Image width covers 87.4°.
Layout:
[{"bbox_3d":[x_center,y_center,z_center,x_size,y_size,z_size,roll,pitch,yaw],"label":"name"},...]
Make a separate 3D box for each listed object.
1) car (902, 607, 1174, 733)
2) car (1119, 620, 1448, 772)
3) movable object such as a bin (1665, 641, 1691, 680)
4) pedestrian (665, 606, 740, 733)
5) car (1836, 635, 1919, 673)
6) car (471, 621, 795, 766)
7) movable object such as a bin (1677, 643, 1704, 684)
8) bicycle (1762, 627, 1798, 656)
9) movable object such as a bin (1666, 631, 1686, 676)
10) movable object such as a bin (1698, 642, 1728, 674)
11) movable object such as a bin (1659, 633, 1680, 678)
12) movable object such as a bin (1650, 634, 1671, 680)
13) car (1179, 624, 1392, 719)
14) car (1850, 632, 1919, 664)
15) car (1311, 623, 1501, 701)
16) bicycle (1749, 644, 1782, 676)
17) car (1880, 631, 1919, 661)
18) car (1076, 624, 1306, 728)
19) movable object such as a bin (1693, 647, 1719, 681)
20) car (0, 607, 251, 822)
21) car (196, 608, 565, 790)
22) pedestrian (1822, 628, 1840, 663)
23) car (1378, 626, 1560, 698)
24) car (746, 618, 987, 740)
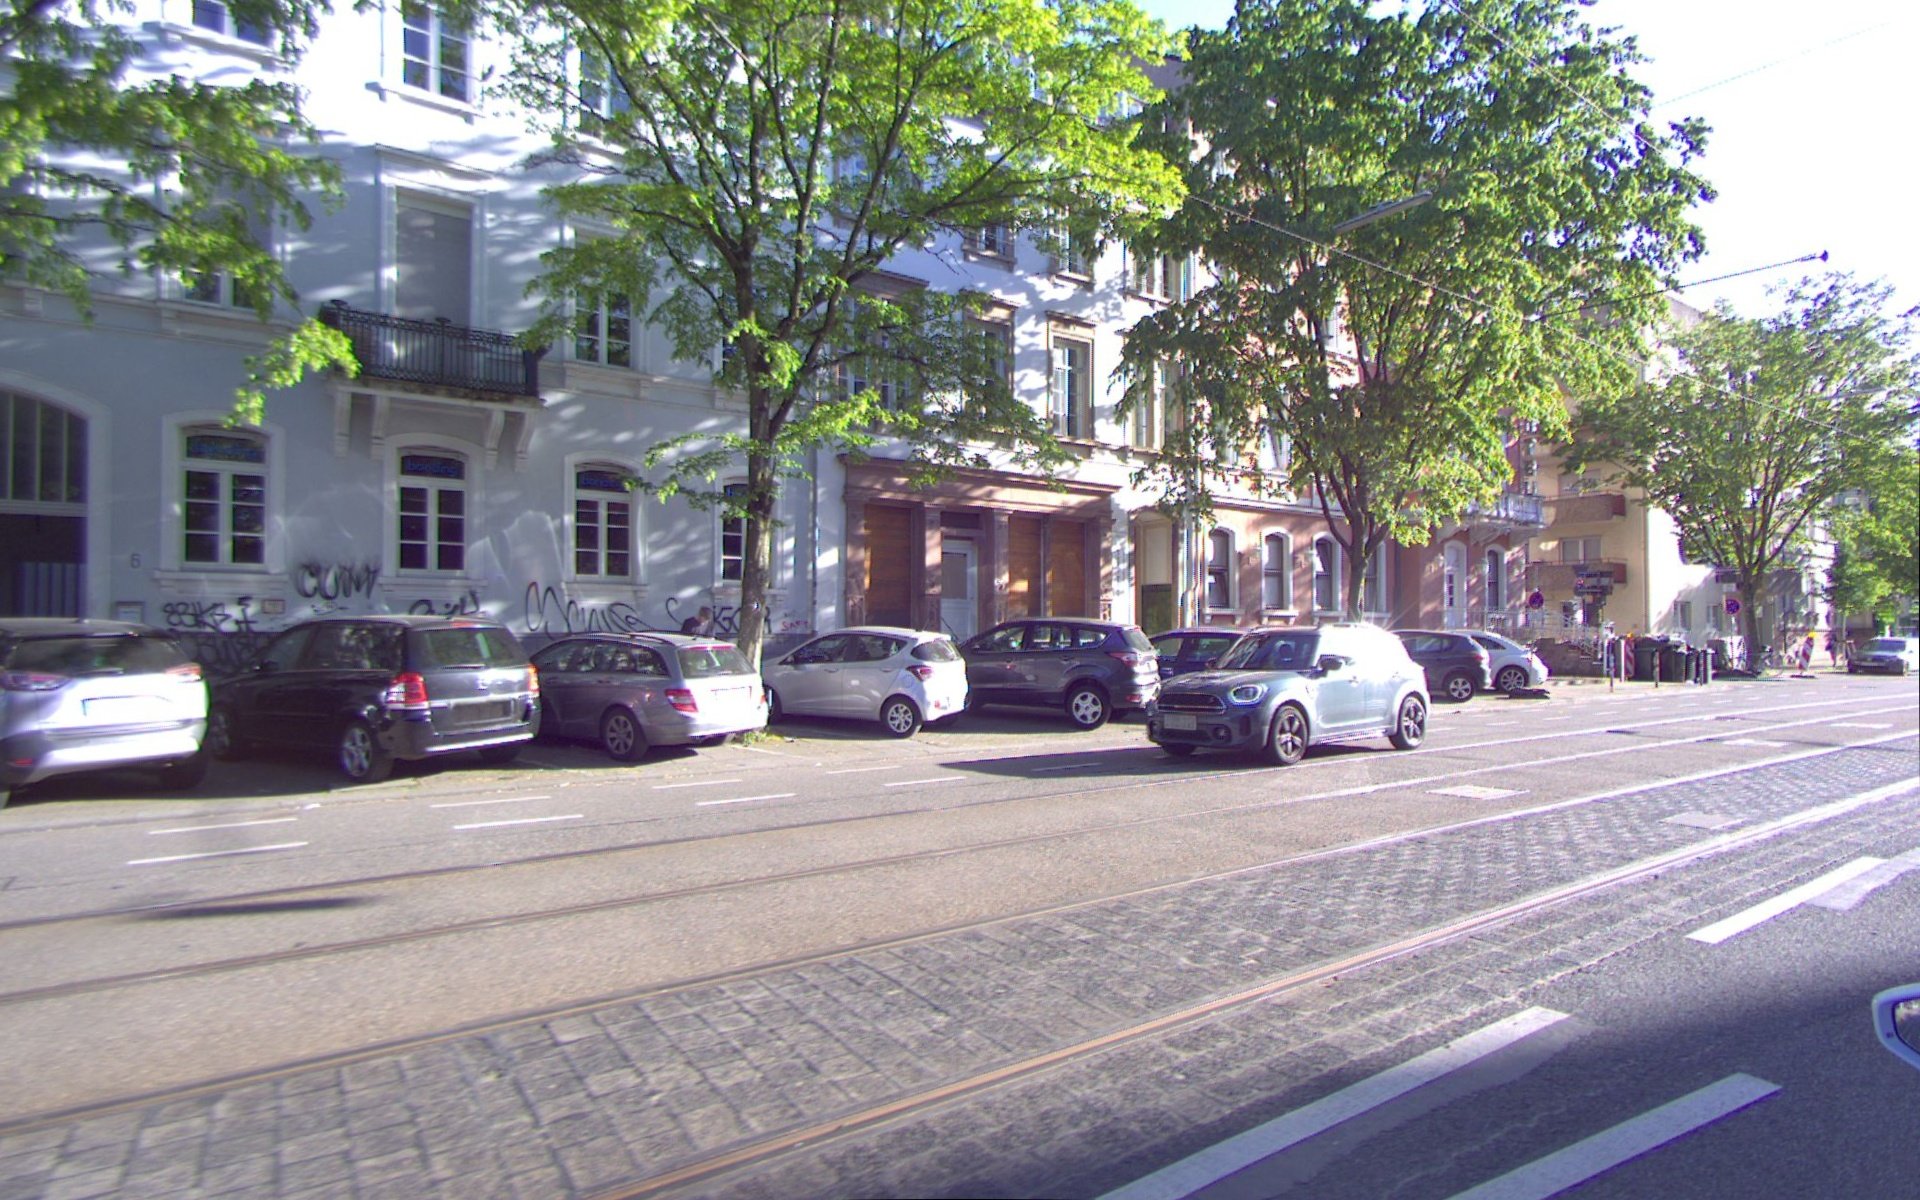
[{"bbox_3d":[1.306,1.101,16.970,4.205,1.745,1.706,2,-1,25],"label":"car"},{"bbox_3d":[4.228,1.097,12.825,4.387,1.622,1.857,1,-3,-38],"label":"car"},{"bbox_3d":[22.313,1.877,31.215,0.630,1.218,0.379,1,-2,-22],"label":"movable object such as a bin"},{"bbox_3d":[-3.762,0.998,14.685,0.756,1.778,0.803,-2,-3,45],"label":"pedestrian"},{"bbox_3d":[37.527,2.144,40.775,4.242,1.429,1.698,1,-1,-31],"label":"car"},{"bbox_3d":[-4.185,1.082,12.818,3.751,1.505,1.769,1,-1,27],"label":"car"},{"bbox_3d":[22.934,1.992,31.539,0.630,1.258,0.379,1,-2,-22],"label":"movable object such as a bin"},{"bbox_3d":[41.883,2.122,51.281,2.982,1.416,0.712,2,-2,-36],"label":"bicycle"},{"bbox_3d":[23.131,1.724,32.446,0.382,1.445,0.379,1,-2,-22],"label":"movable object such as a bin"},{"bbox_3d":[27.795,2.140,37.076,1.133,1.141,0.424,1,-2,-29],"label":"movable object such as a bin"},{"bbox_3d":[22.784,1.768,32.246,0.380,1.445,0.379,1,-2,-22],"label":"movable object such as a bin"},{"bbox_3d":[22.373,1.805,32.065,0.382,1.445,0.379,1,-2,-22],"label":"movable object such as a bin"},{"bbox_3d":[6.545,1.377,20.323,3.908,1.638,1.635,1,0,21],"label":"car"},{"bbox_3d":[44.939,2.266,47.132,4.435,1.444,1.870,0,-2,30],"label":"car"},{"bbox_3d":[10.224,1.373,23.193,3.848,1.528,1.688,2,0,25],"label":"car"},{"bbox_3d":[29.057,2.170,36.233,1.385,1.131,0.263,1,-2,-23],"label":"bicycle"},{"bbox_3d":[53.219,2.556,54.687,4.443,1.590,1.584,0,-2,37],"label":"car"},{"bbox_3d":[4.251,1.317,18.474,3.908,1.638,1.635,1,0,21],"label":"car"},{"bbox_3d":[23.663,2.025,31.865,0.630,1.082,0.379,1,-2,-22],"label":"movable object such as a bin"},{"bbox_3d":[-8.841,0.922,9.605,3.799,1.676,1.771,1,-1,27],"label":"car"},{"bbox_3d":[-6.476,0.973,11.196,3.799,1.676,1.771,1,-1,28],"label":"car"},{"bbox_3d":[42.625,2.208,49.146,0.484,1.693,0.509,1,-2,-29],"label":"pedestrian"},{"bbox_3d":[12.652,1.504,25.235,3.839,1.542,1.735,2,0,19],"label":"car"},{"bbox_3d":[-1.421,1.118,15.356,3.218,1.553,1.706,2,0,25],"label":"car"}]
